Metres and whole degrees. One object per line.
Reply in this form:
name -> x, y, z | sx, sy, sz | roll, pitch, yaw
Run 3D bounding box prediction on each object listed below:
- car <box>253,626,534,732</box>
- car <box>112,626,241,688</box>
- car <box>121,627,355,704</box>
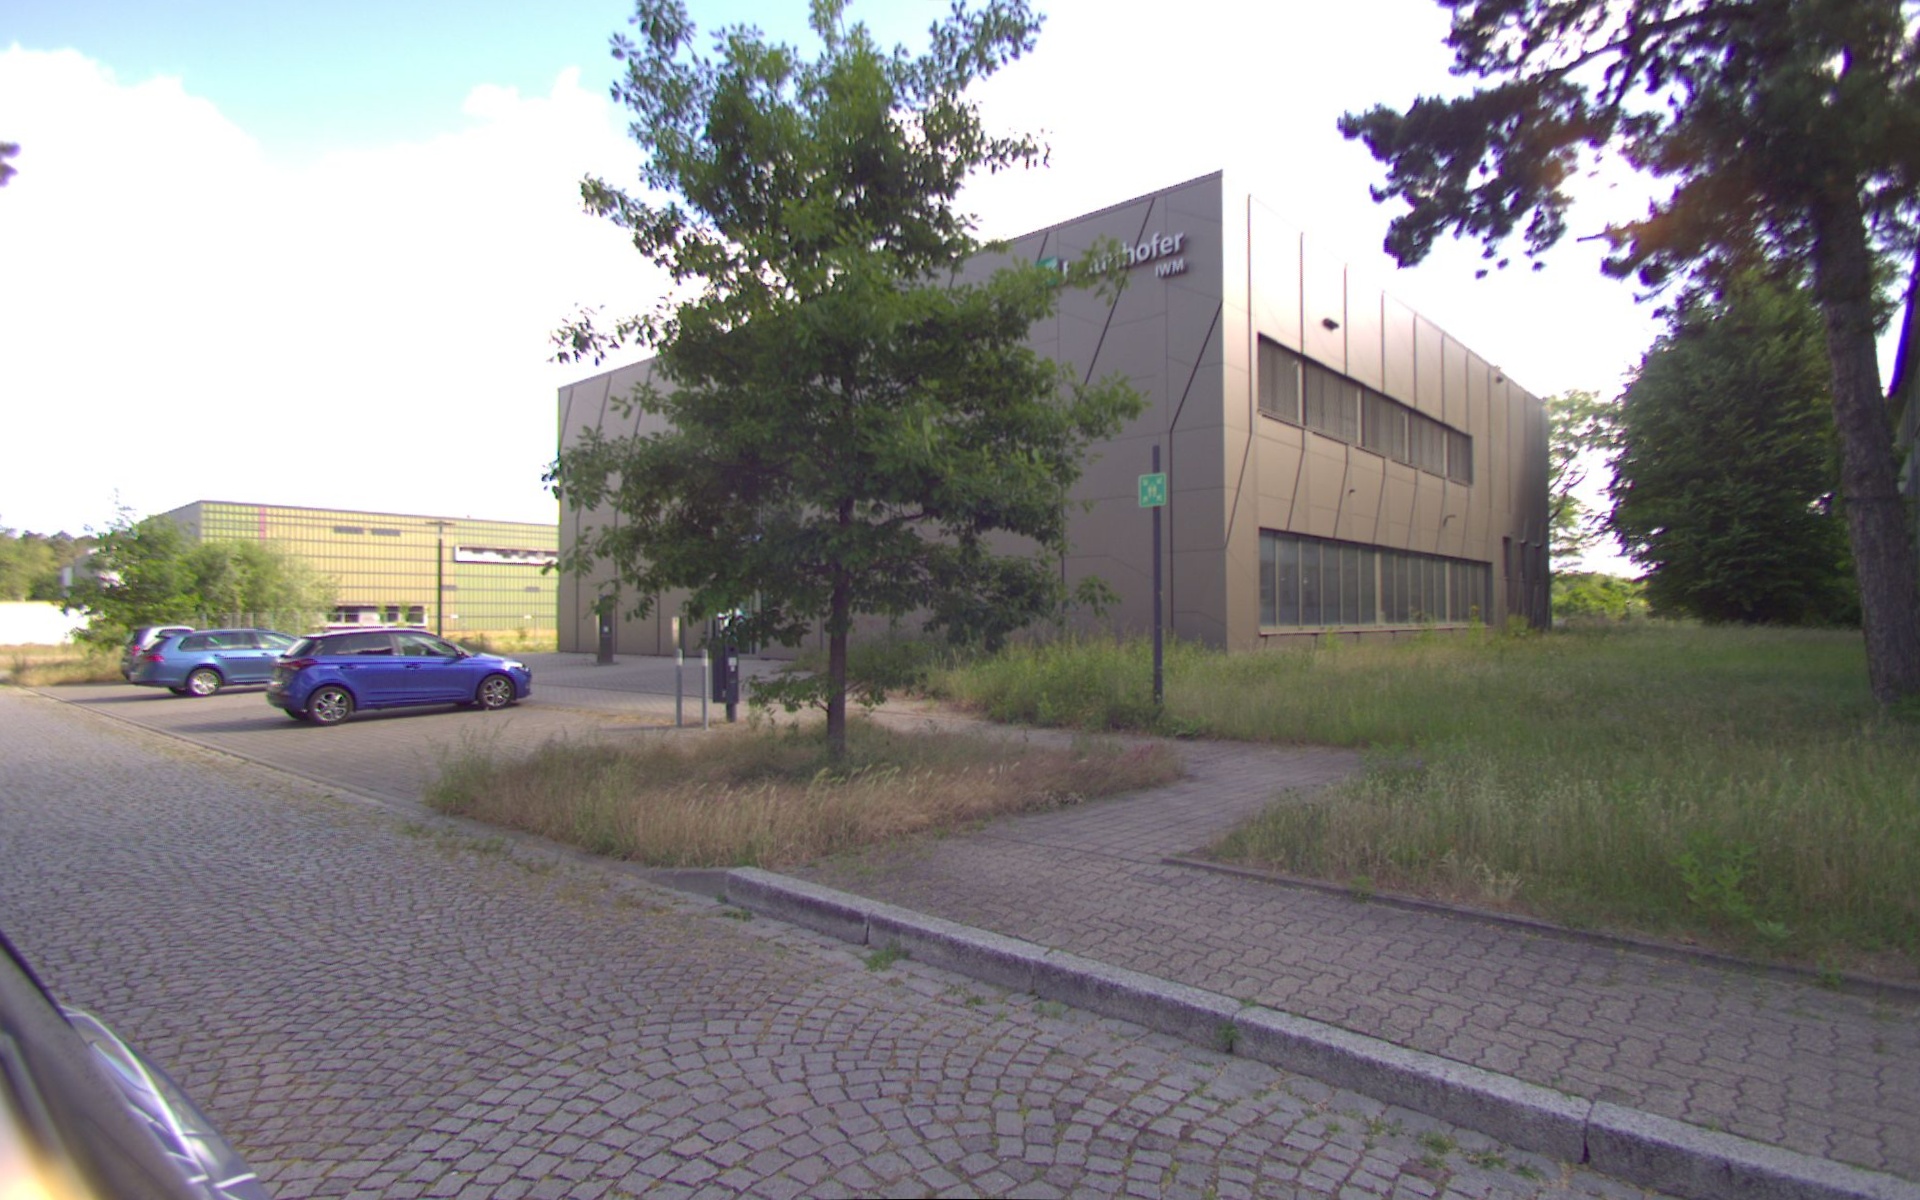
car -> -9.570, 1.243, 17.293 | 1.735, 1.479, 3.865 | -2, -1, 44
car -> -22.077, 1.562, 28.566 | 1.480, 1.580, 2.619 | -2, -1, 40
car -> -16.673, 1.441, 23.528 | 1.733, 1.485, 4.127 | -2, -1, 39
